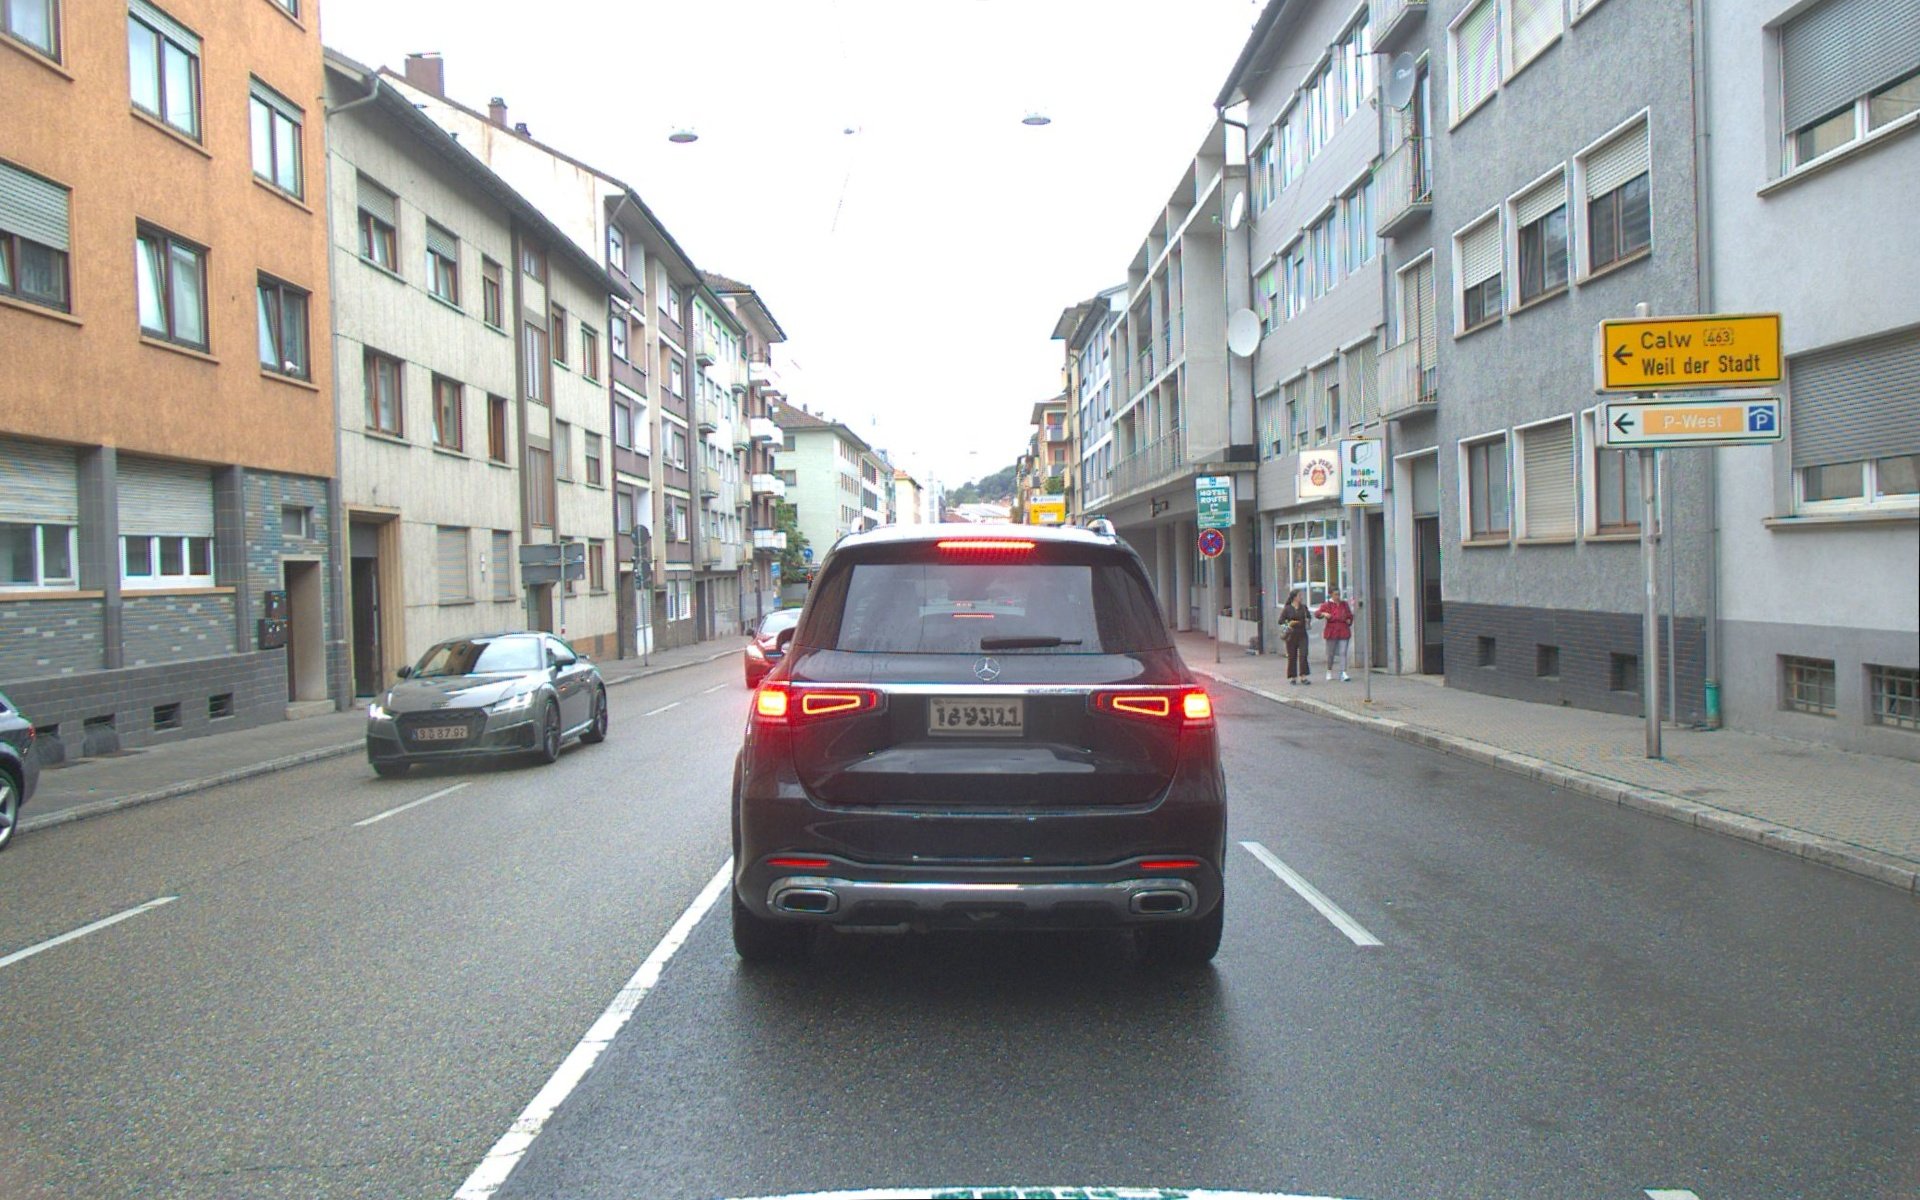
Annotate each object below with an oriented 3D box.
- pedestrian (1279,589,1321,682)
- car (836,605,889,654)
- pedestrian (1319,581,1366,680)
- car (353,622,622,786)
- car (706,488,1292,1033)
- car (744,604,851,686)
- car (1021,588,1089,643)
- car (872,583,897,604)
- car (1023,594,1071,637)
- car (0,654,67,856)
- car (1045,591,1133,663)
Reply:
[{"bbox_3d":[5.731,0.587,27.897,0.496,1.526,0.562,-4,0,1],"label":"pedestrian"},{"bbox_3d":[-3.576,1.063,61.340,1.698,1.602,4.010,-5,0,-1],"label":"car"},{"bbox_3d":[6.436,0.508,27.827,0.549,1.606,0.526,-4,0,-2],"label":"pedestrian"},{"bbox_3d":[-4.943,1.024,17.858,1.732,1.369,3.888,-5,0,-1],"label":"car"},{"bbox_3d":[0.095,0.551,7.675,1.984,1.837,3.999,1,0,-1],"label":"car"},{"bbox_3d":[-3.146,0.839,32.734,1.690,1.414,4.338,-3,0,-1],"label":"car"},{"bbox_3d":[3.163,0.499,56.011,1.901,1.806,4.745,0,0,-2],"label":"car"},{"bbox_3d":[-5.575,-0.475,122.524,1.615,1.464,4.124,-3,0,-1],"label":"car"},{"bbox_3d":[3.431,0.602,65.936,1.771,1.634,4.212,0,0,1],"label":"car"},{"bbox_3d":[-7.961,1.158,10.891,1.759,1.463,4.525,1,0,-1],"label":"car"},{"bbox_3d":[3.025,0.612,39.493,1.731,1.608,3.999,0,0,-1],"label":"car"}]
